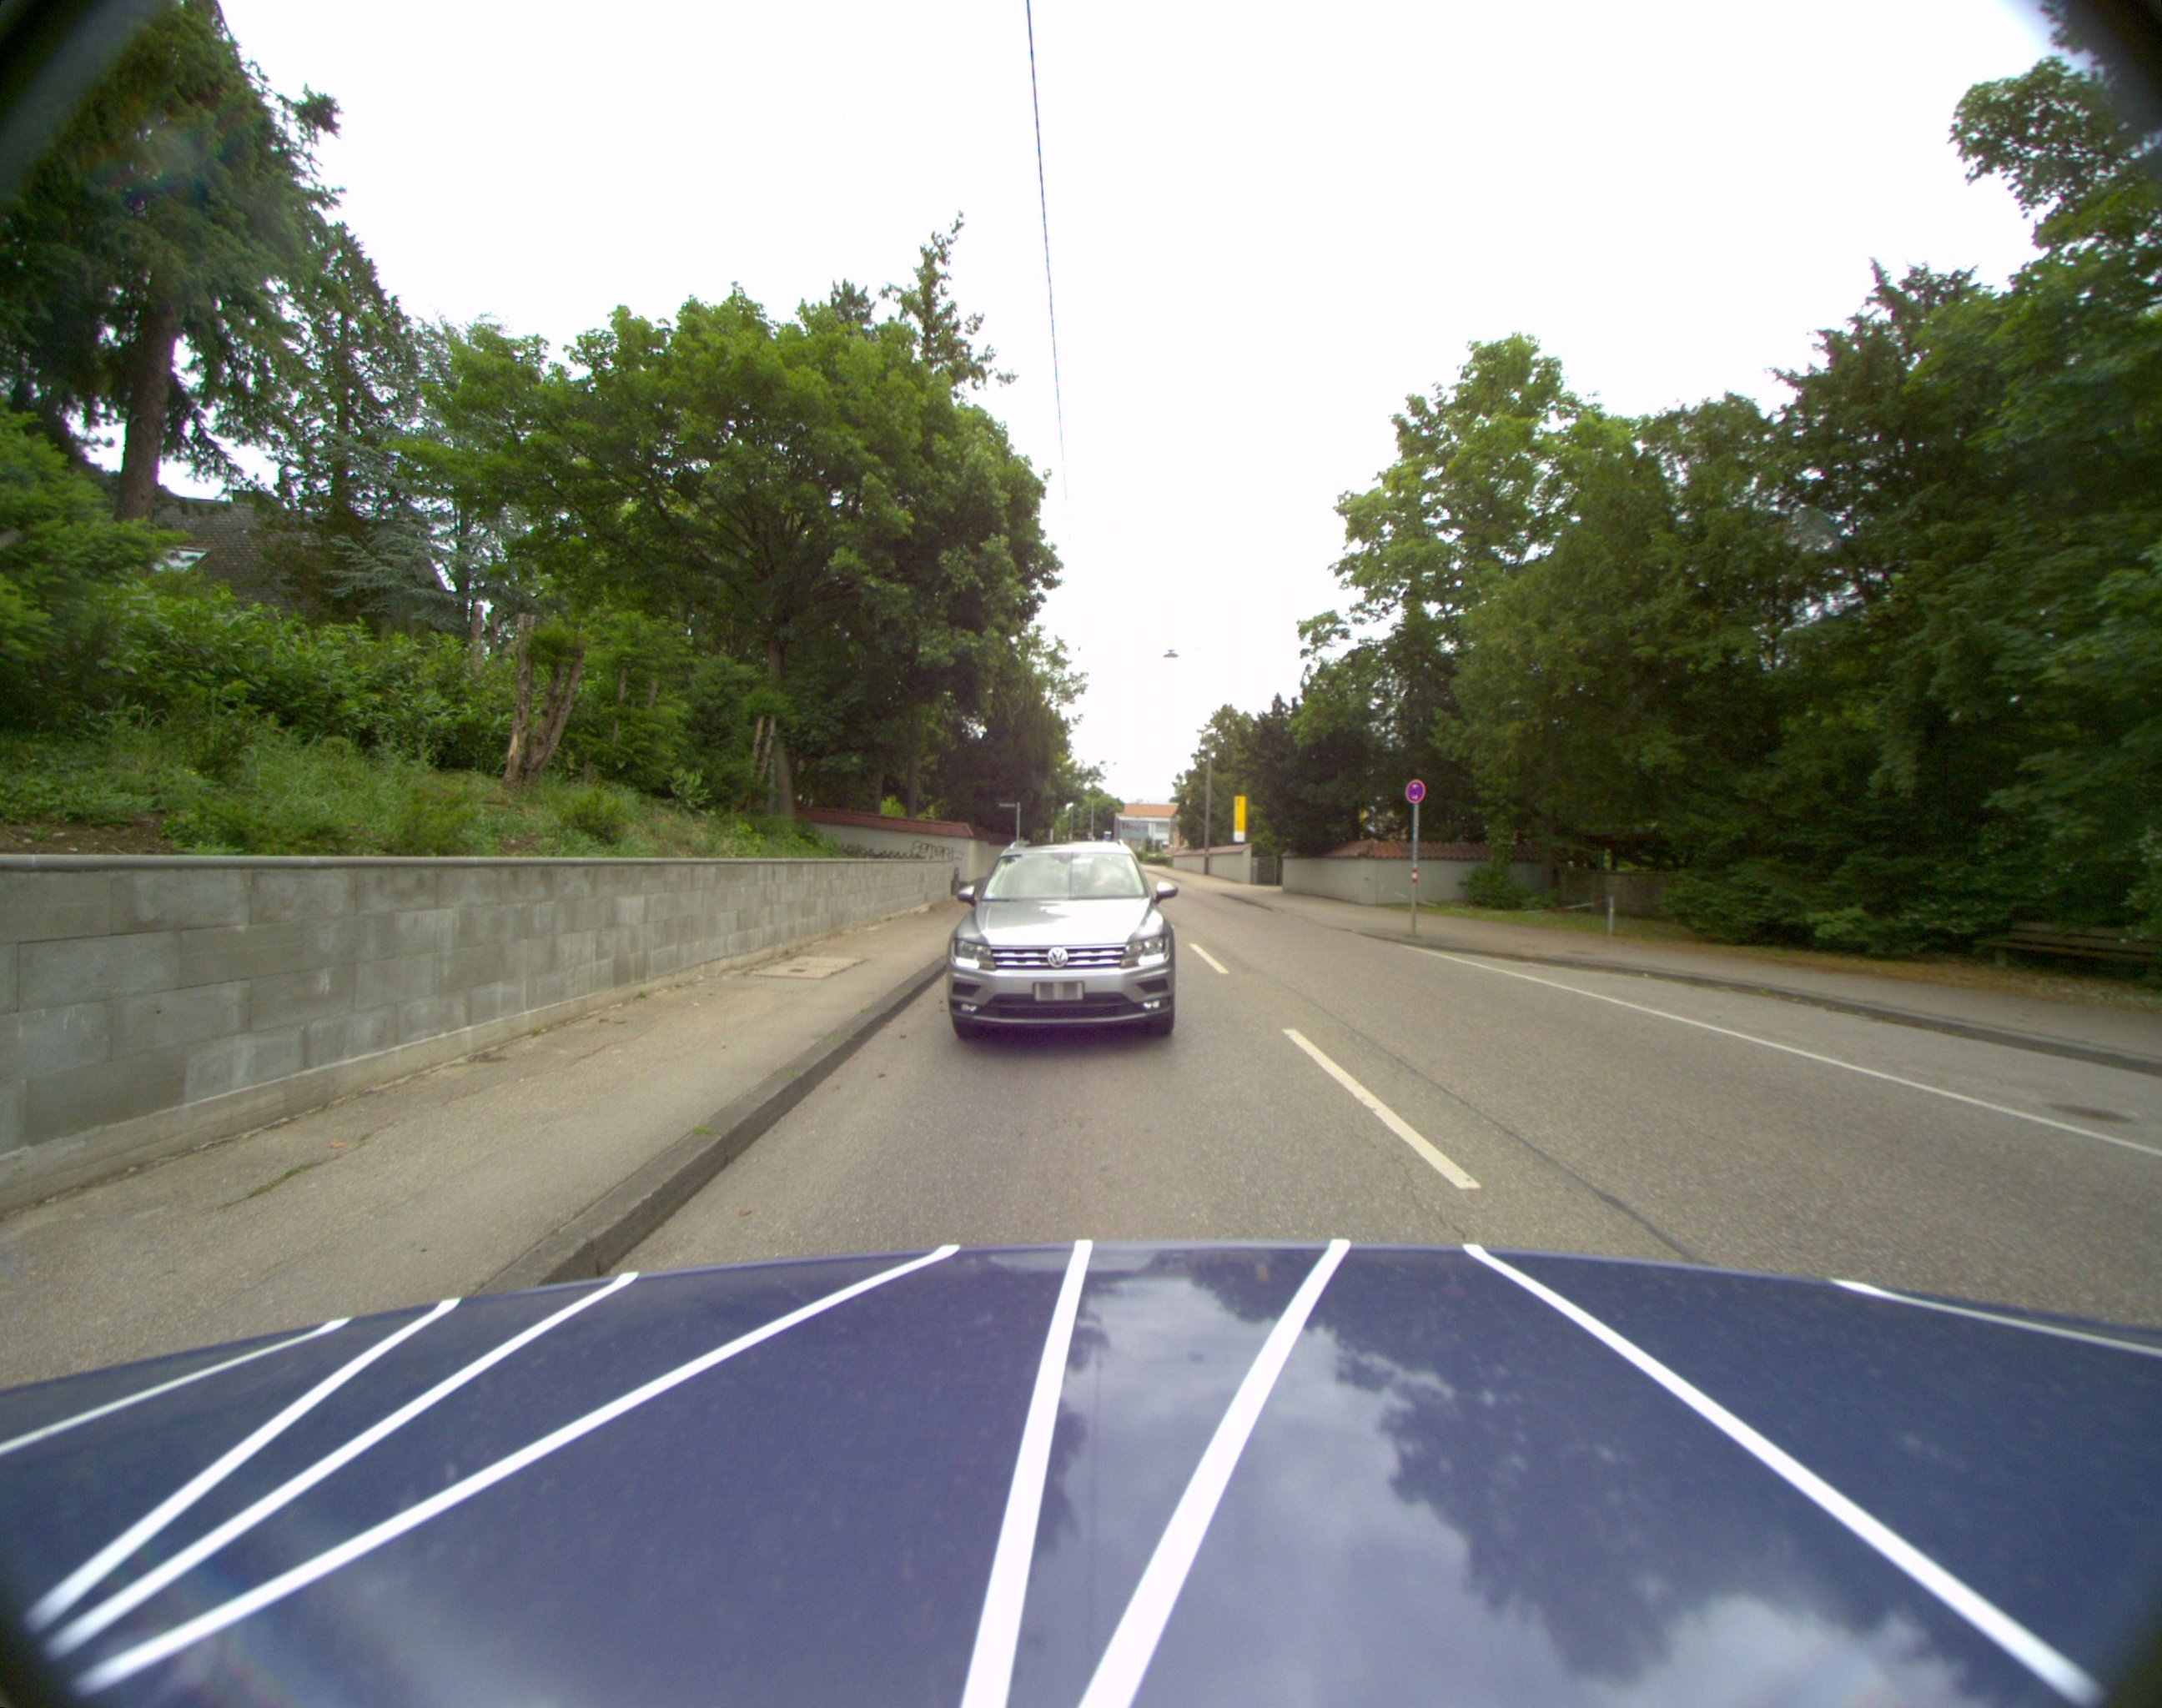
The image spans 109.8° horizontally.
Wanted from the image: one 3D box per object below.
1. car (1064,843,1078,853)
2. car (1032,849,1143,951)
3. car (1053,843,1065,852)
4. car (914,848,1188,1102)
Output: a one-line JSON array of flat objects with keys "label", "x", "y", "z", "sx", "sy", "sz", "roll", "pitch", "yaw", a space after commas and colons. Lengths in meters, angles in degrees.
[{"label": "car", "x": -1.650, "y": -0.941, "z": 124.982, "sx": 1.878, "sy": 1.647, "sz": 4.253, "roll": 0, "pitch": 1, "yaw": -5}, {"label": "car", "x": 0.119, "y": 0.731, "z": 14.667, "sx": 1.820, "sy": 1.647, "sz": 4.487, "roll": 0, "pitch": 1, "yaw": 0}, {"label": "car", "x": -4.171, "y": -1.173, "z": 143.379, "sx": 1.878, "sy": 1.647, "sz": 4.252, "roll": 0, "pitch": 1, "yaw": -8}, {"label": "car", "x": -0.188, "y": 0.806, "z": 7.513, "sx": 1.820, "sy": 1.690, "sz": 4.718, "roll": -1, "pitch": 0, "yaw": 0}]
